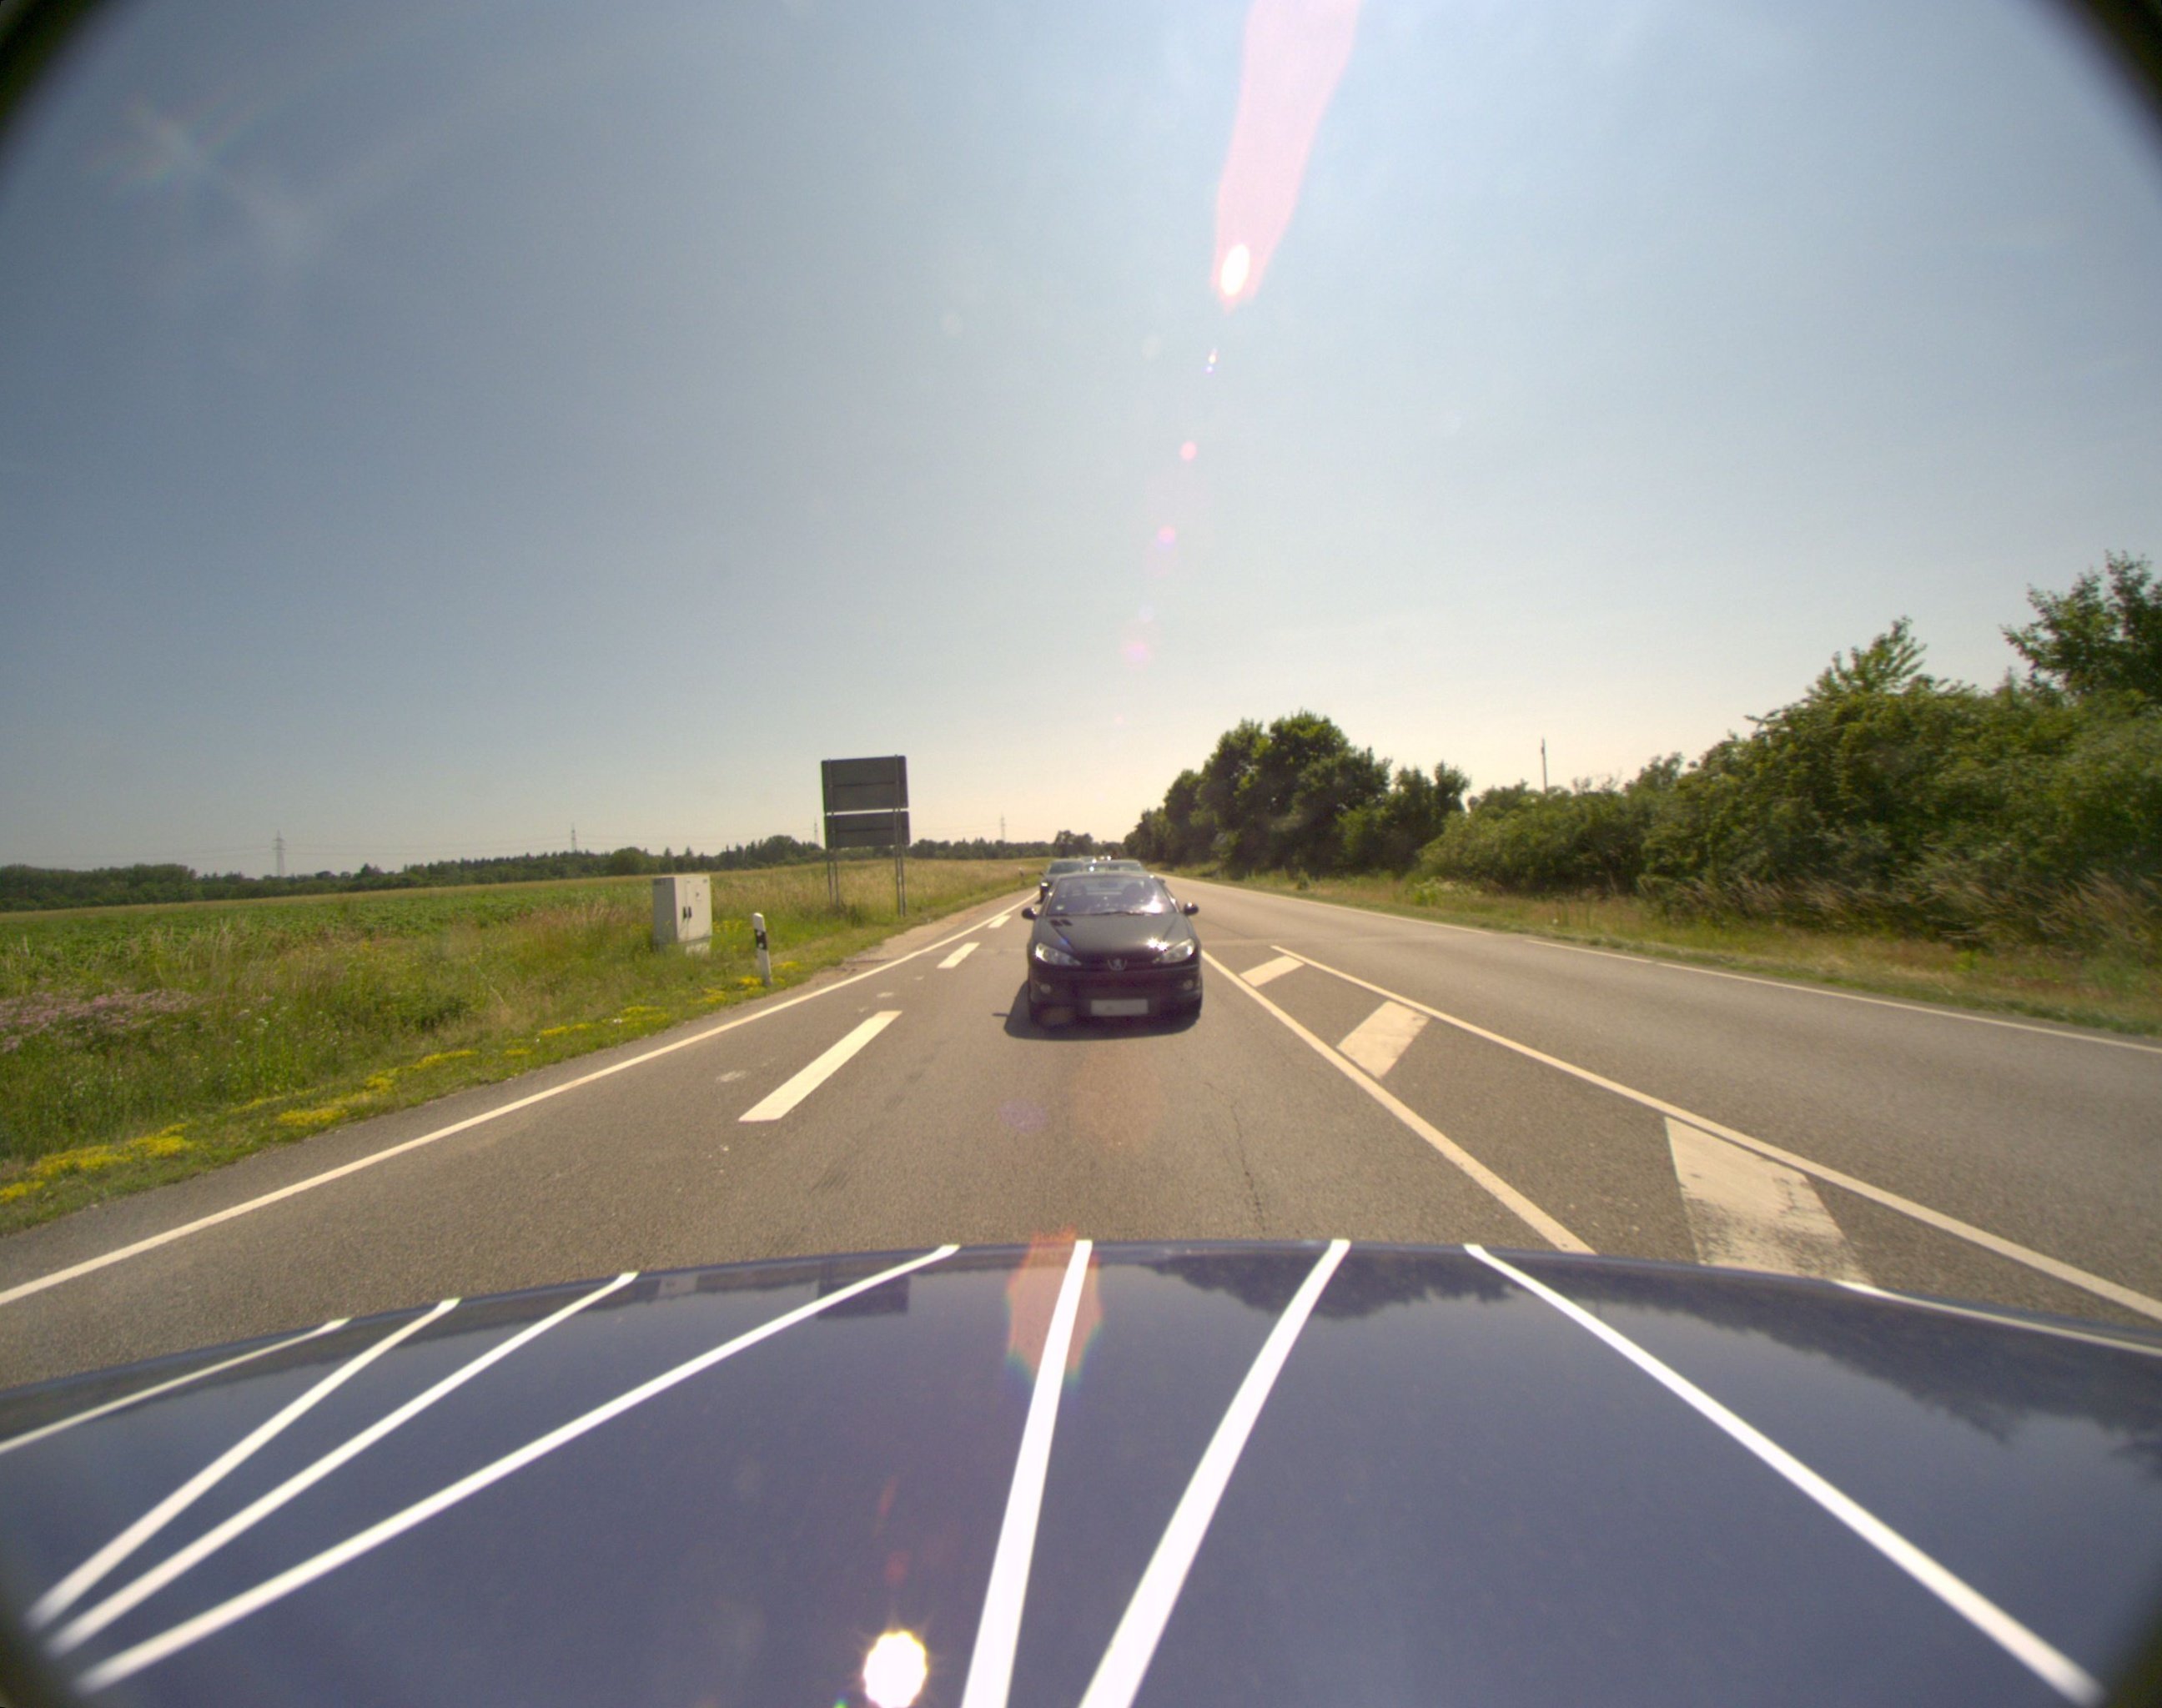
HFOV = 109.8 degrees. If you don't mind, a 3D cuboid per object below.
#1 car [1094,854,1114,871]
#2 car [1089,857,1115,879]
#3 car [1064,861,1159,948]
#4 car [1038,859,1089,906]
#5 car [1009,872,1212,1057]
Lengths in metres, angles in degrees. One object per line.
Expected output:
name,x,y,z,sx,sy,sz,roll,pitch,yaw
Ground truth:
car,1.917,0.689,64.697,1.588,1.294,3.631,-2,0,1
car,1.323,0.863,48.601,1.588,1.294,3.631,-2,0,1
car,0.615,0.931,15.642,1.665,1.477,3.732,-2,0,2
car,-0.563,0.948,27.320,1.665,1.449,4.173,-2,0,0
car,0.273,0.976,8.259,1.665,1.389,3.731,-2,0,1
